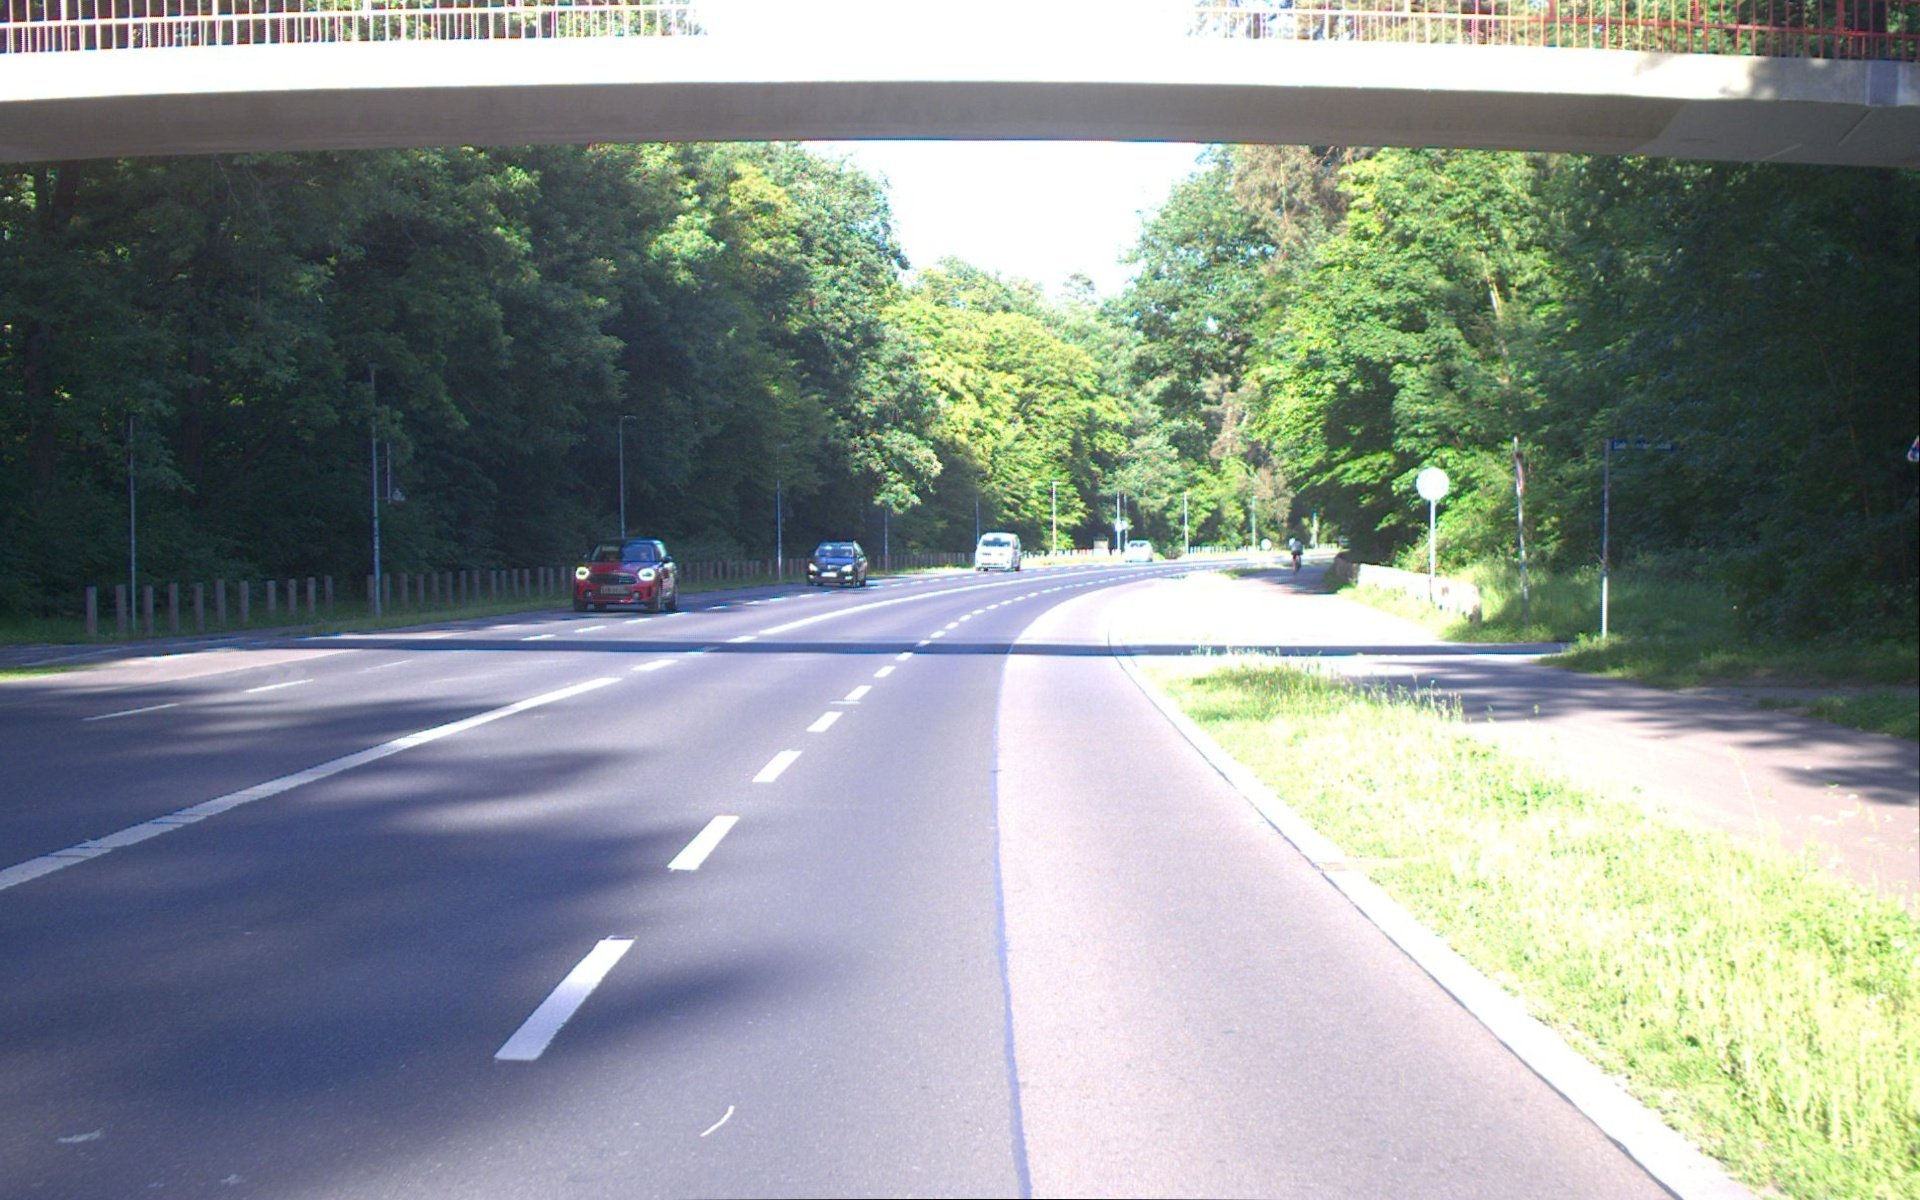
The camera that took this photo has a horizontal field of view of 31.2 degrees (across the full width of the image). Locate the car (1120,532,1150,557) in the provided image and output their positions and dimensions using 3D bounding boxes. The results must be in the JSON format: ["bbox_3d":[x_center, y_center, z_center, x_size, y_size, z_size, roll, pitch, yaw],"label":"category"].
[{"bbox_3d":[12.021,-3.793,236.135,1.784,1.703,3.999,0,1,6],"label":"car"}]

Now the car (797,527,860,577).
[{"bbox_3d":[-4.333,-1.605,113.617,1.722,1.568,4.177,2,1,2],"label":"car"}]

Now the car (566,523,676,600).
[{"bbox_3d":[-7.195,-0.847,73.240,1.762,1.577,4.168,1,1,2],"label":"car"}]

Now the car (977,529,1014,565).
[{"bbox_3d":[1.723,-2.589,165.804,1.705,1.703,4.000,0,1,2],"label":"car"}]
